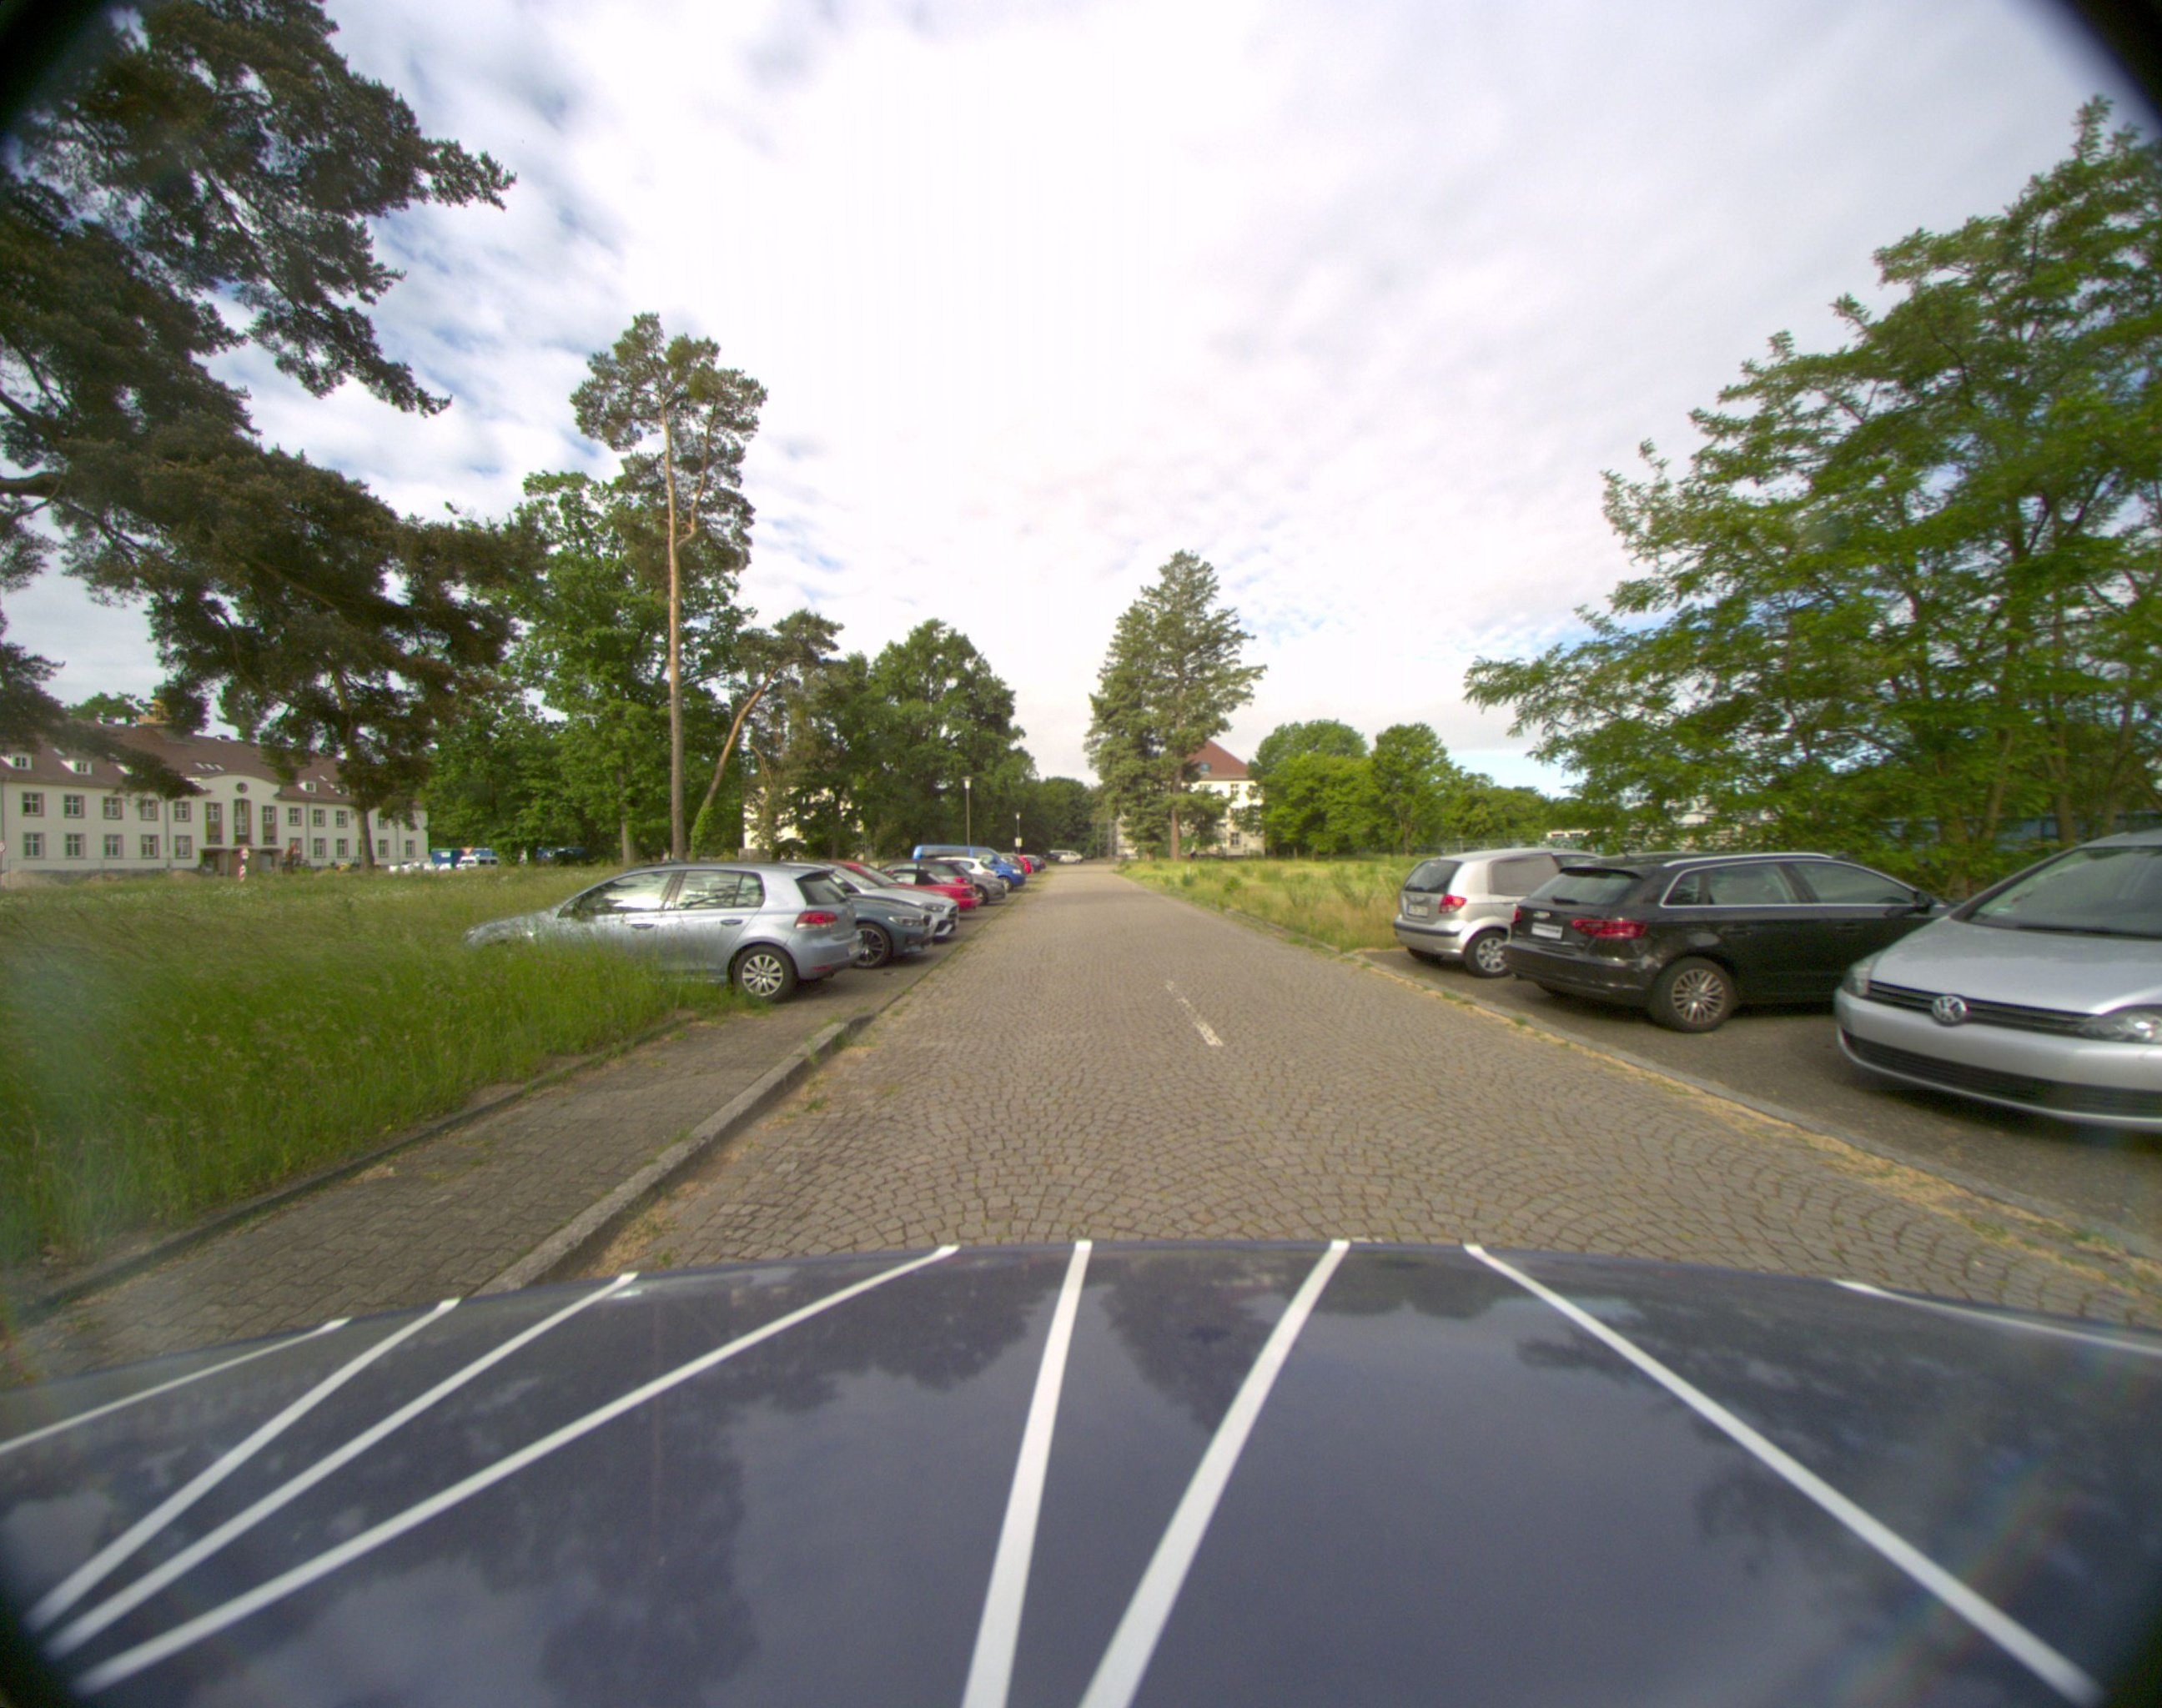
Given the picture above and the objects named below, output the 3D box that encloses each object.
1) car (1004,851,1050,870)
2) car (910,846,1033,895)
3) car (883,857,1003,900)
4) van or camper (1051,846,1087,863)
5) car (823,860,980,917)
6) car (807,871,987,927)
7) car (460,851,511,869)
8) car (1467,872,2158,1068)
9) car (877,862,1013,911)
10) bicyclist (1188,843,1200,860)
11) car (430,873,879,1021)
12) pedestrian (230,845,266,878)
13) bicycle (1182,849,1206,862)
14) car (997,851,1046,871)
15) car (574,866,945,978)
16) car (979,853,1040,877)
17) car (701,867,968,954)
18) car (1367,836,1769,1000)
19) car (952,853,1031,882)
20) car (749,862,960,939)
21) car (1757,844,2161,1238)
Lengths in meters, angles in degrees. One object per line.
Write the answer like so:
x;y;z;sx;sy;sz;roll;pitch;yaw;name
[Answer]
-4.665;0.522;66.220;3.791;1.615;2.000;0;1;1;car
-4.563;0.683;32.204;4.839;2.002;2.000;0;1;4;car
-4.836;0.858;27.044;3.933;1.441;1.796;0;1;0;car
-1.844;0.056;115.274;5.249;2.449;2.208;-1;1;-3;van or camper
-4.921;0.942;21.215;3.933;1.467;1.796;0;1;1;car
-4.408;1.062;18.627;3.933;1.227;1.796;0;1;1;car
-68.992;0.609;88.073;2.166;2.002;4.833;-1;0;-2;car
6.293;0.922;6.926;4.633;1.414;1.884;0;1;-3;car
-4.208;0.981;23.926;3.933;1.427;1.796;0;1;0;car
13.050;-0.278;87.668;1.318;1.857;1.250;0;1;5;bicyclist
-4.508;0.953;8.503;3.997;1.410;1.796;0;1;1;car
-55.072;0.482;50.243;1.184;2.165;1.056;0;1;0;pedestrian
12.984;0.180;87.714;2.673;1.496;1.273;0;1;5;bicycle
-4.827;0.568;61.739;3.791;1.560;2.000;0;1;1;car
-4.469;0.923;11.097;4.630;1.437;1.796;0;1;0;car
-4.795;0.720;51.430;3.998;1.560;1.999;0;1;-4;car
-4.360;0.986;13.904;4.266;1.437;1.797;0;1;2;car
5.968;0.714;9.583;3.985;1.448;1.680;-6;1;-5;car
-4.790;0.735;41.136;3.996;1.496;1.869;0;1;2;car
-4.725;0.953;16.243;3.932;1.504;1.797;0;1;2;car
6.754;0.757;4.241;4.486;1.580;1.846;-2;1;-4;car
